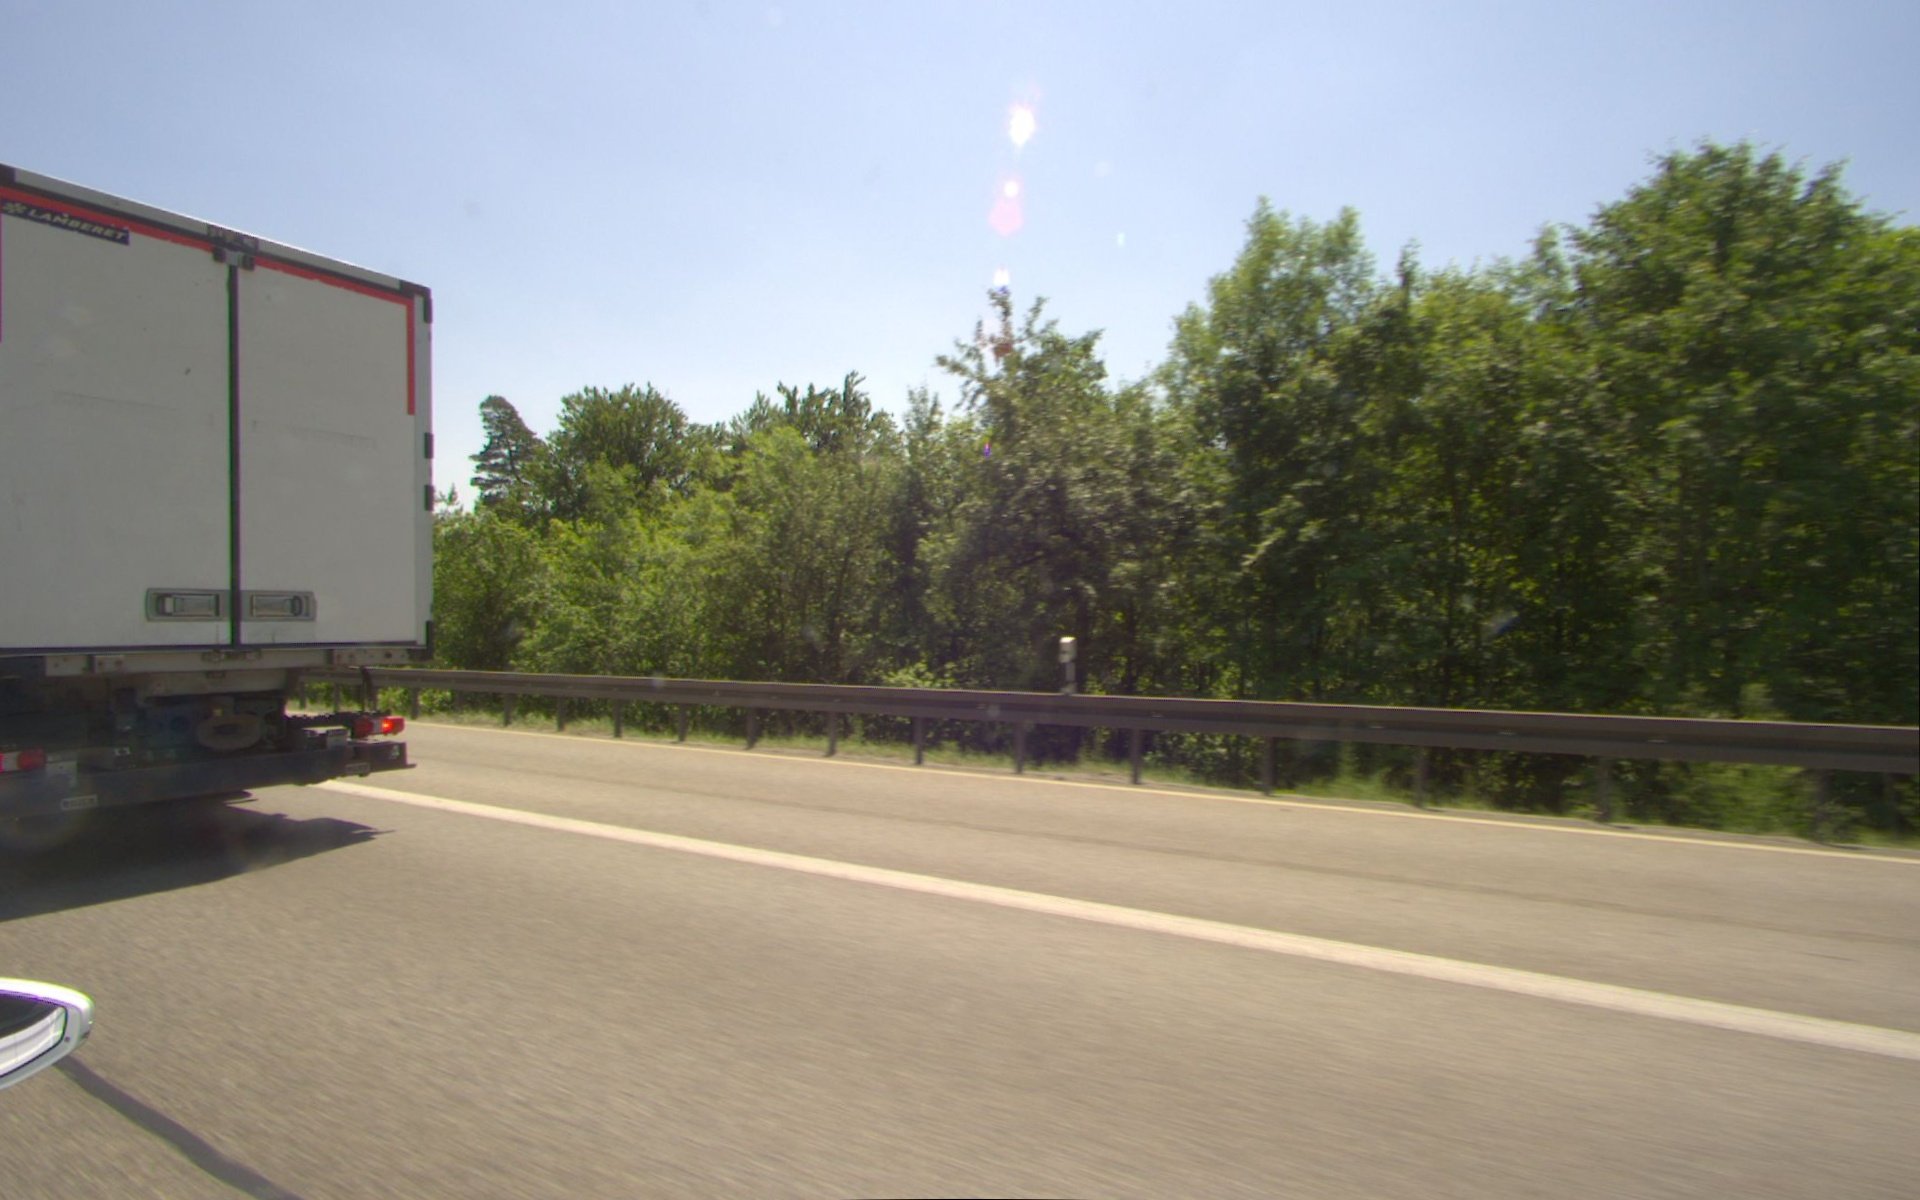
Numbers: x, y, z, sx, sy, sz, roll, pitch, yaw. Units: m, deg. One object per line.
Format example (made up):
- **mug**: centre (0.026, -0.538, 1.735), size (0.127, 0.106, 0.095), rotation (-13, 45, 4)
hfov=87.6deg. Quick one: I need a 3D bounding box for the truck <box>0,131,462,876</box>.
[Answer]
- **truck**: centre (-8.490, -0.463, 8.870), size (9.643, 3.929, 2.681), rotation (-1, 2, 33)
